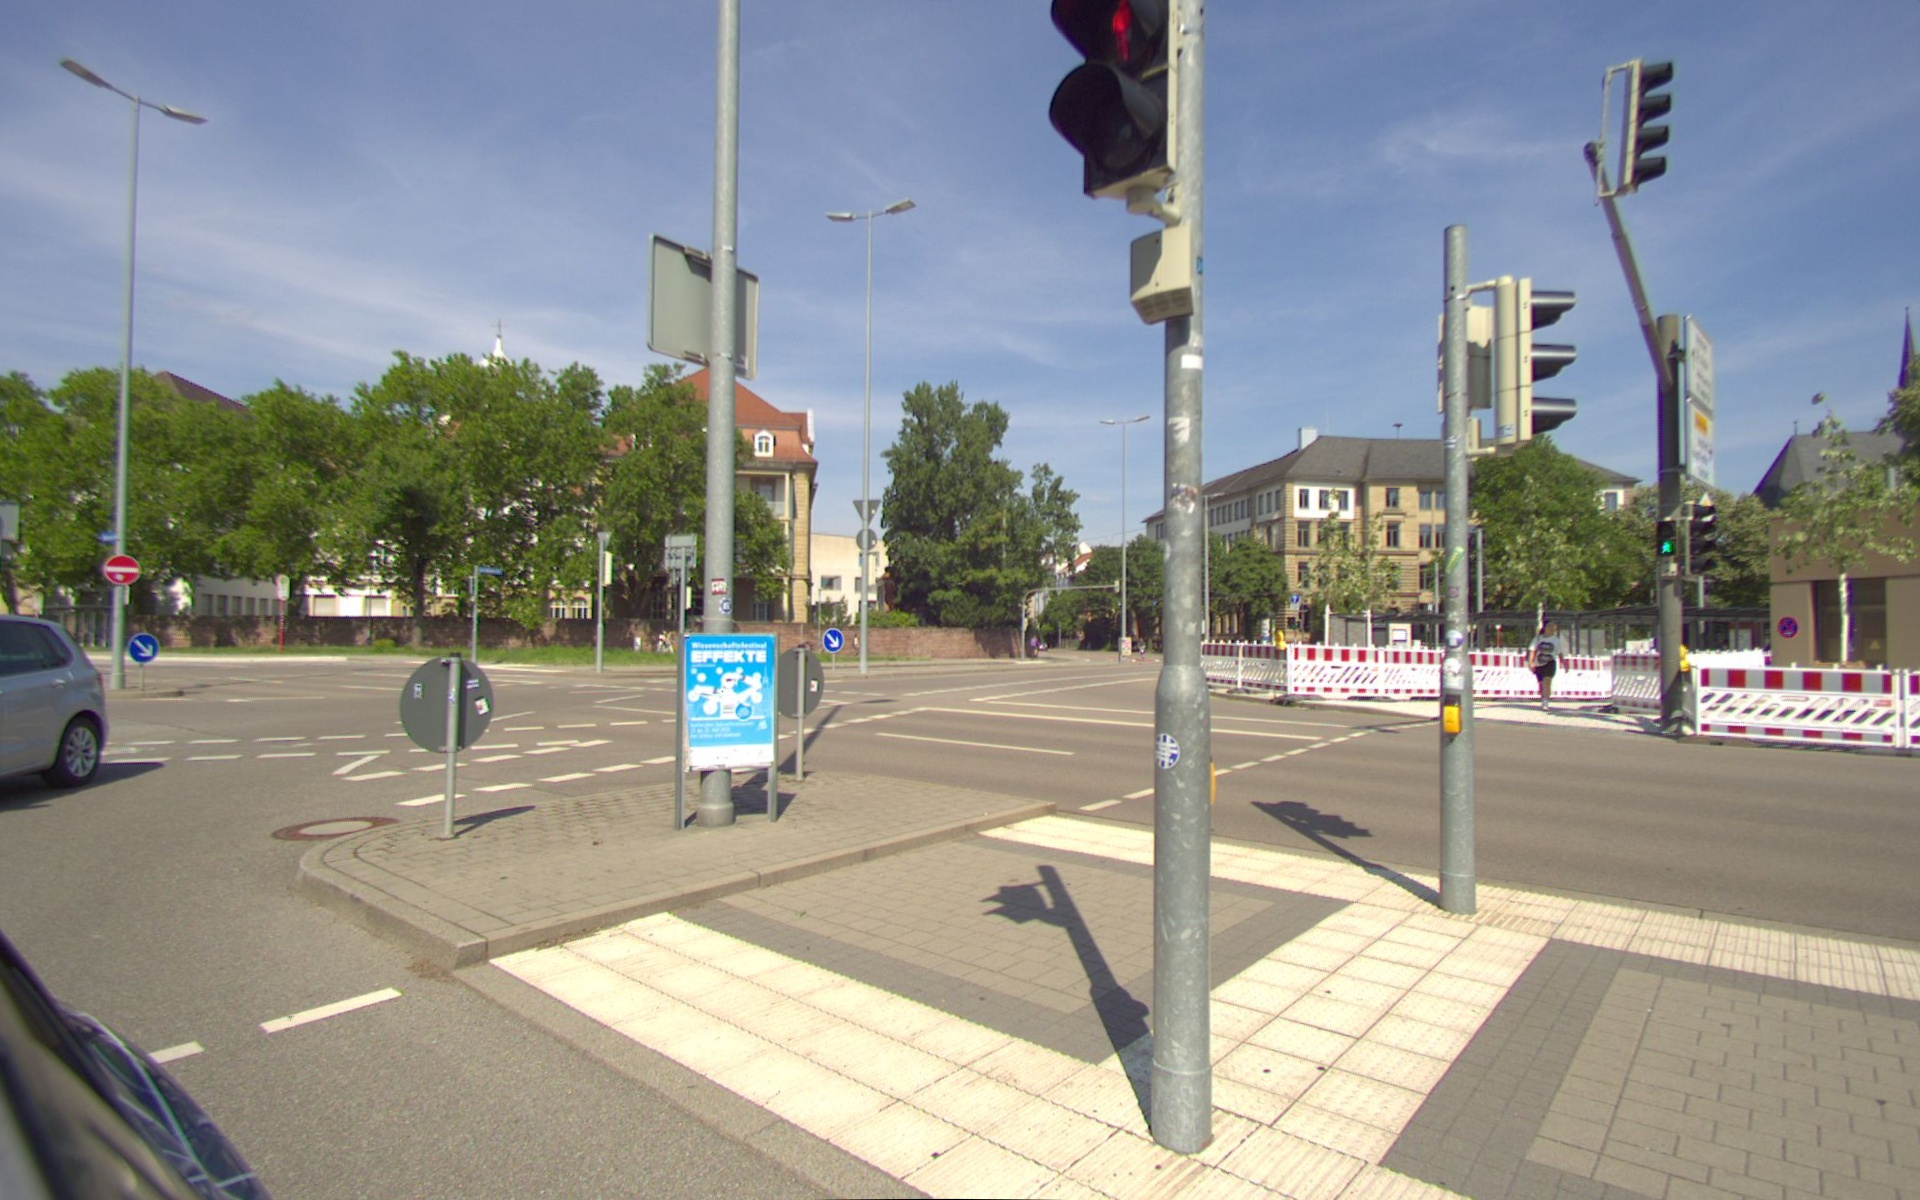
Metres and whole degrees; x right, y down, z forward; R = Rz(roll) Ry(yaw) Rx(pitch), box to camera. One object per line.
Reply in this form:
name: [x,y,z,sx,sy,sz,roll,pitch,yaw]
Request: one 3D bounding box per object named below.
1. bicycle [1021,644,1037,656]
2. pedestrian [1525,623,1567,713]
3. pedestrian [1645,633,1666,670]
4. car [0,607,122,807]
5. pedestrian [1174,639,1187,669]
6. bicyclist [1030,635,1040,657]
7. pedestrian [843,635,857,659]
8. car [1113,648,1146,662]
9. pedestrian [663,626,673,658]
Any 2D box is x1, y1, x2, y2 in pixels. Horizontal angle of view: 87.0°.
bicycle: [5.298,3.826,77.803,0.680,0.894,1.918,0,-3,22]
pedestrian: [10.440,1.201,18.023,0.558,1.577,0.418,-2,-3,41]
pedestrian: [37.734,2.788,54.918,0.816,2.029,0.680,-1,-3,27]
car: [-8.350,0.835,7.381,1.661,1.598,4.161,1,-1,-11]
pedestrian: [15.010,3.676,68.886,0.786,2.029,0.614,0,-3,9]
bicyclist: [5.794,3.582,78.412,0.484,1.649,1.077,0,-3,21]
pedestrian: [-7.397,3.162,68.101,0.898,1.560,0.504,1,-3,-12]
car: [23.614,7.650,141.090,3.934,1.674,2.005,-1,-1,-12]
pedestrian: [-18.629,2.673,64.492,0.586,2.029,0.525,1,-2,-17]
